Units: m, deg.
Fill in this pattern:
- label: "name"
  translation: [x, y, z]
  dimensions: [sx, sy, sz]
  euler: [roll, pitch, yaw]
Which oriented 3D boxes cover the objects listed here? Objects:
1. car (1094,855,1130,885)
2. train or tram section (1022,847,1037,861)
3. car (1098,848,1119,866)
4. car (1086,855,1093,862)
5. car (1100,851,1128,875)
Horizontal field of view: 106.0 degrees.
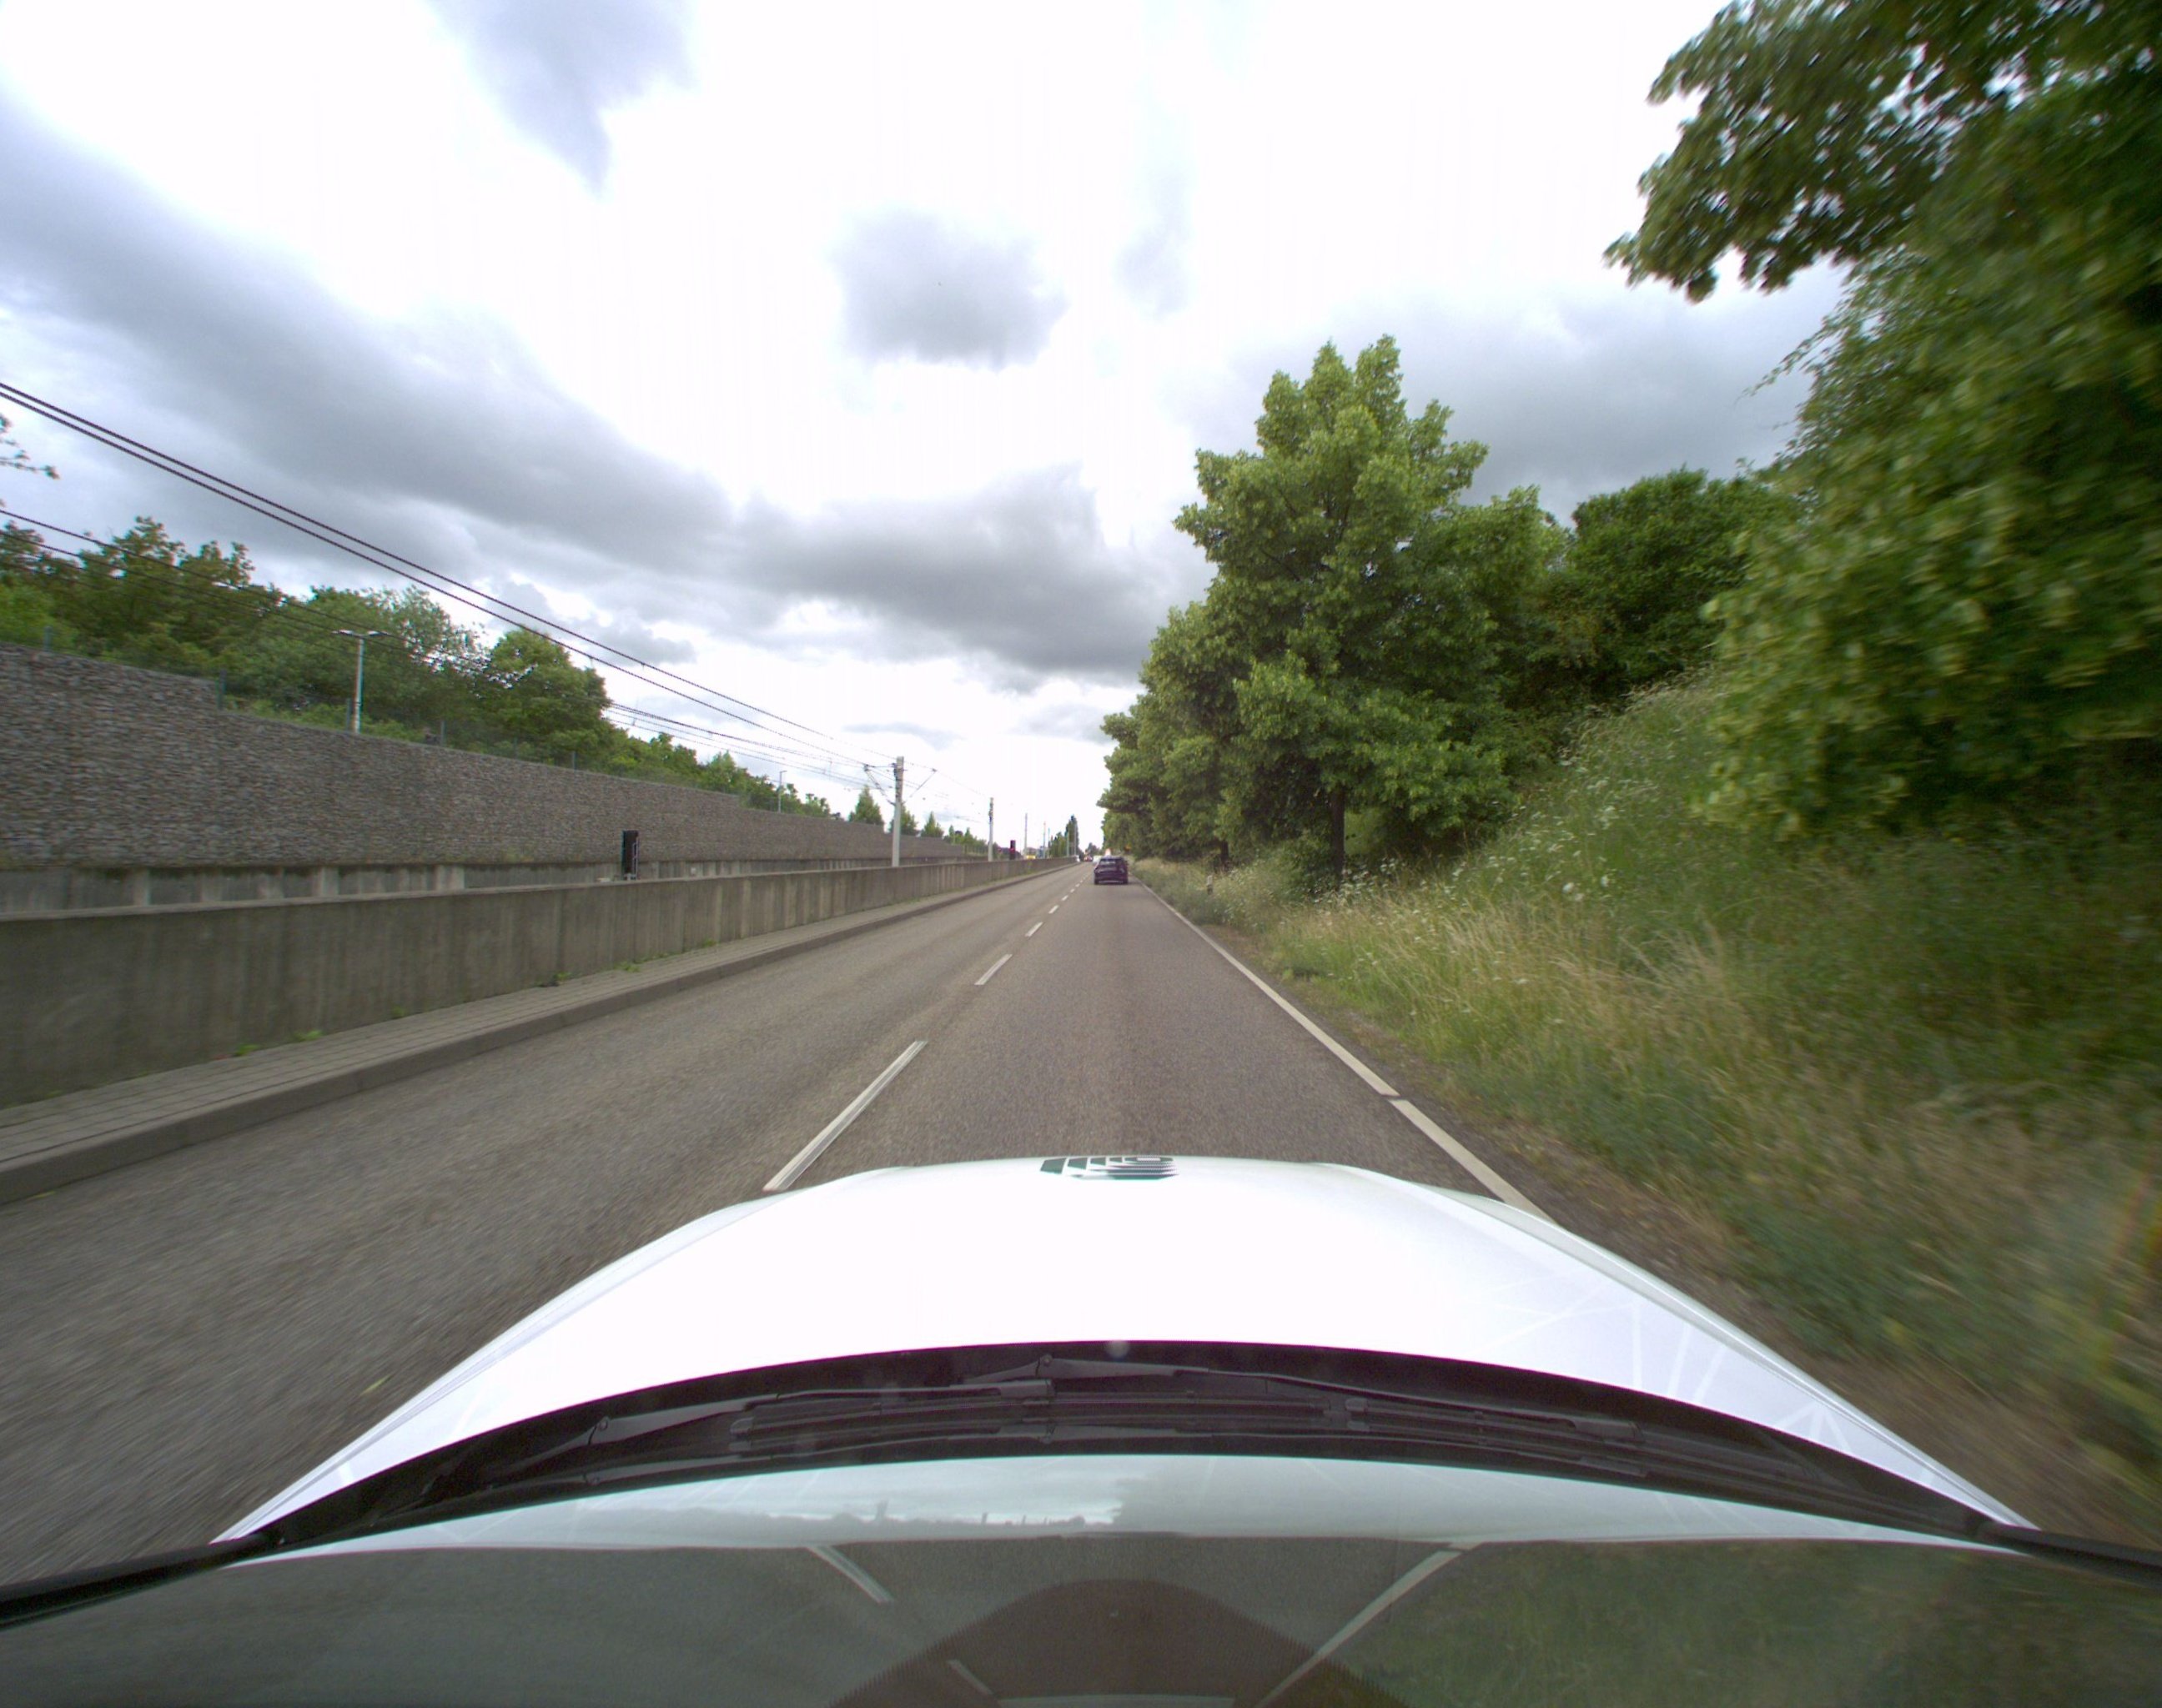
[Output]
- label: "car"
  translation: [1.623, 0.799, 42.974]
  dimensions: [1.774, 1.468, 4.002]
  euler: [0, 0, 2]
- label: "train or tram section"
  translation: [-13.211, 0.062, 208.014]
  dimensions: [2.808, 3.117, 18.870]
  euler: [0, -1, -6]
- label: "car"
  translation: [2.757, 0.283, 81.977]
  dimensions: [1.986, 1.740, 4.001]
  euler: [0, -1, 2]
- label: "car"
  translation: [1.964, 1.033, 194.282]
  dimensions: [1.657, 1.545, 3.953]
  euler: [-1, 0, 1]
- label: "car"
  translation: [2.447, 0.657, 60.674]
  dimensions: [1.986, 1.753, 4.002]
  euler: [0, 0, 2]
